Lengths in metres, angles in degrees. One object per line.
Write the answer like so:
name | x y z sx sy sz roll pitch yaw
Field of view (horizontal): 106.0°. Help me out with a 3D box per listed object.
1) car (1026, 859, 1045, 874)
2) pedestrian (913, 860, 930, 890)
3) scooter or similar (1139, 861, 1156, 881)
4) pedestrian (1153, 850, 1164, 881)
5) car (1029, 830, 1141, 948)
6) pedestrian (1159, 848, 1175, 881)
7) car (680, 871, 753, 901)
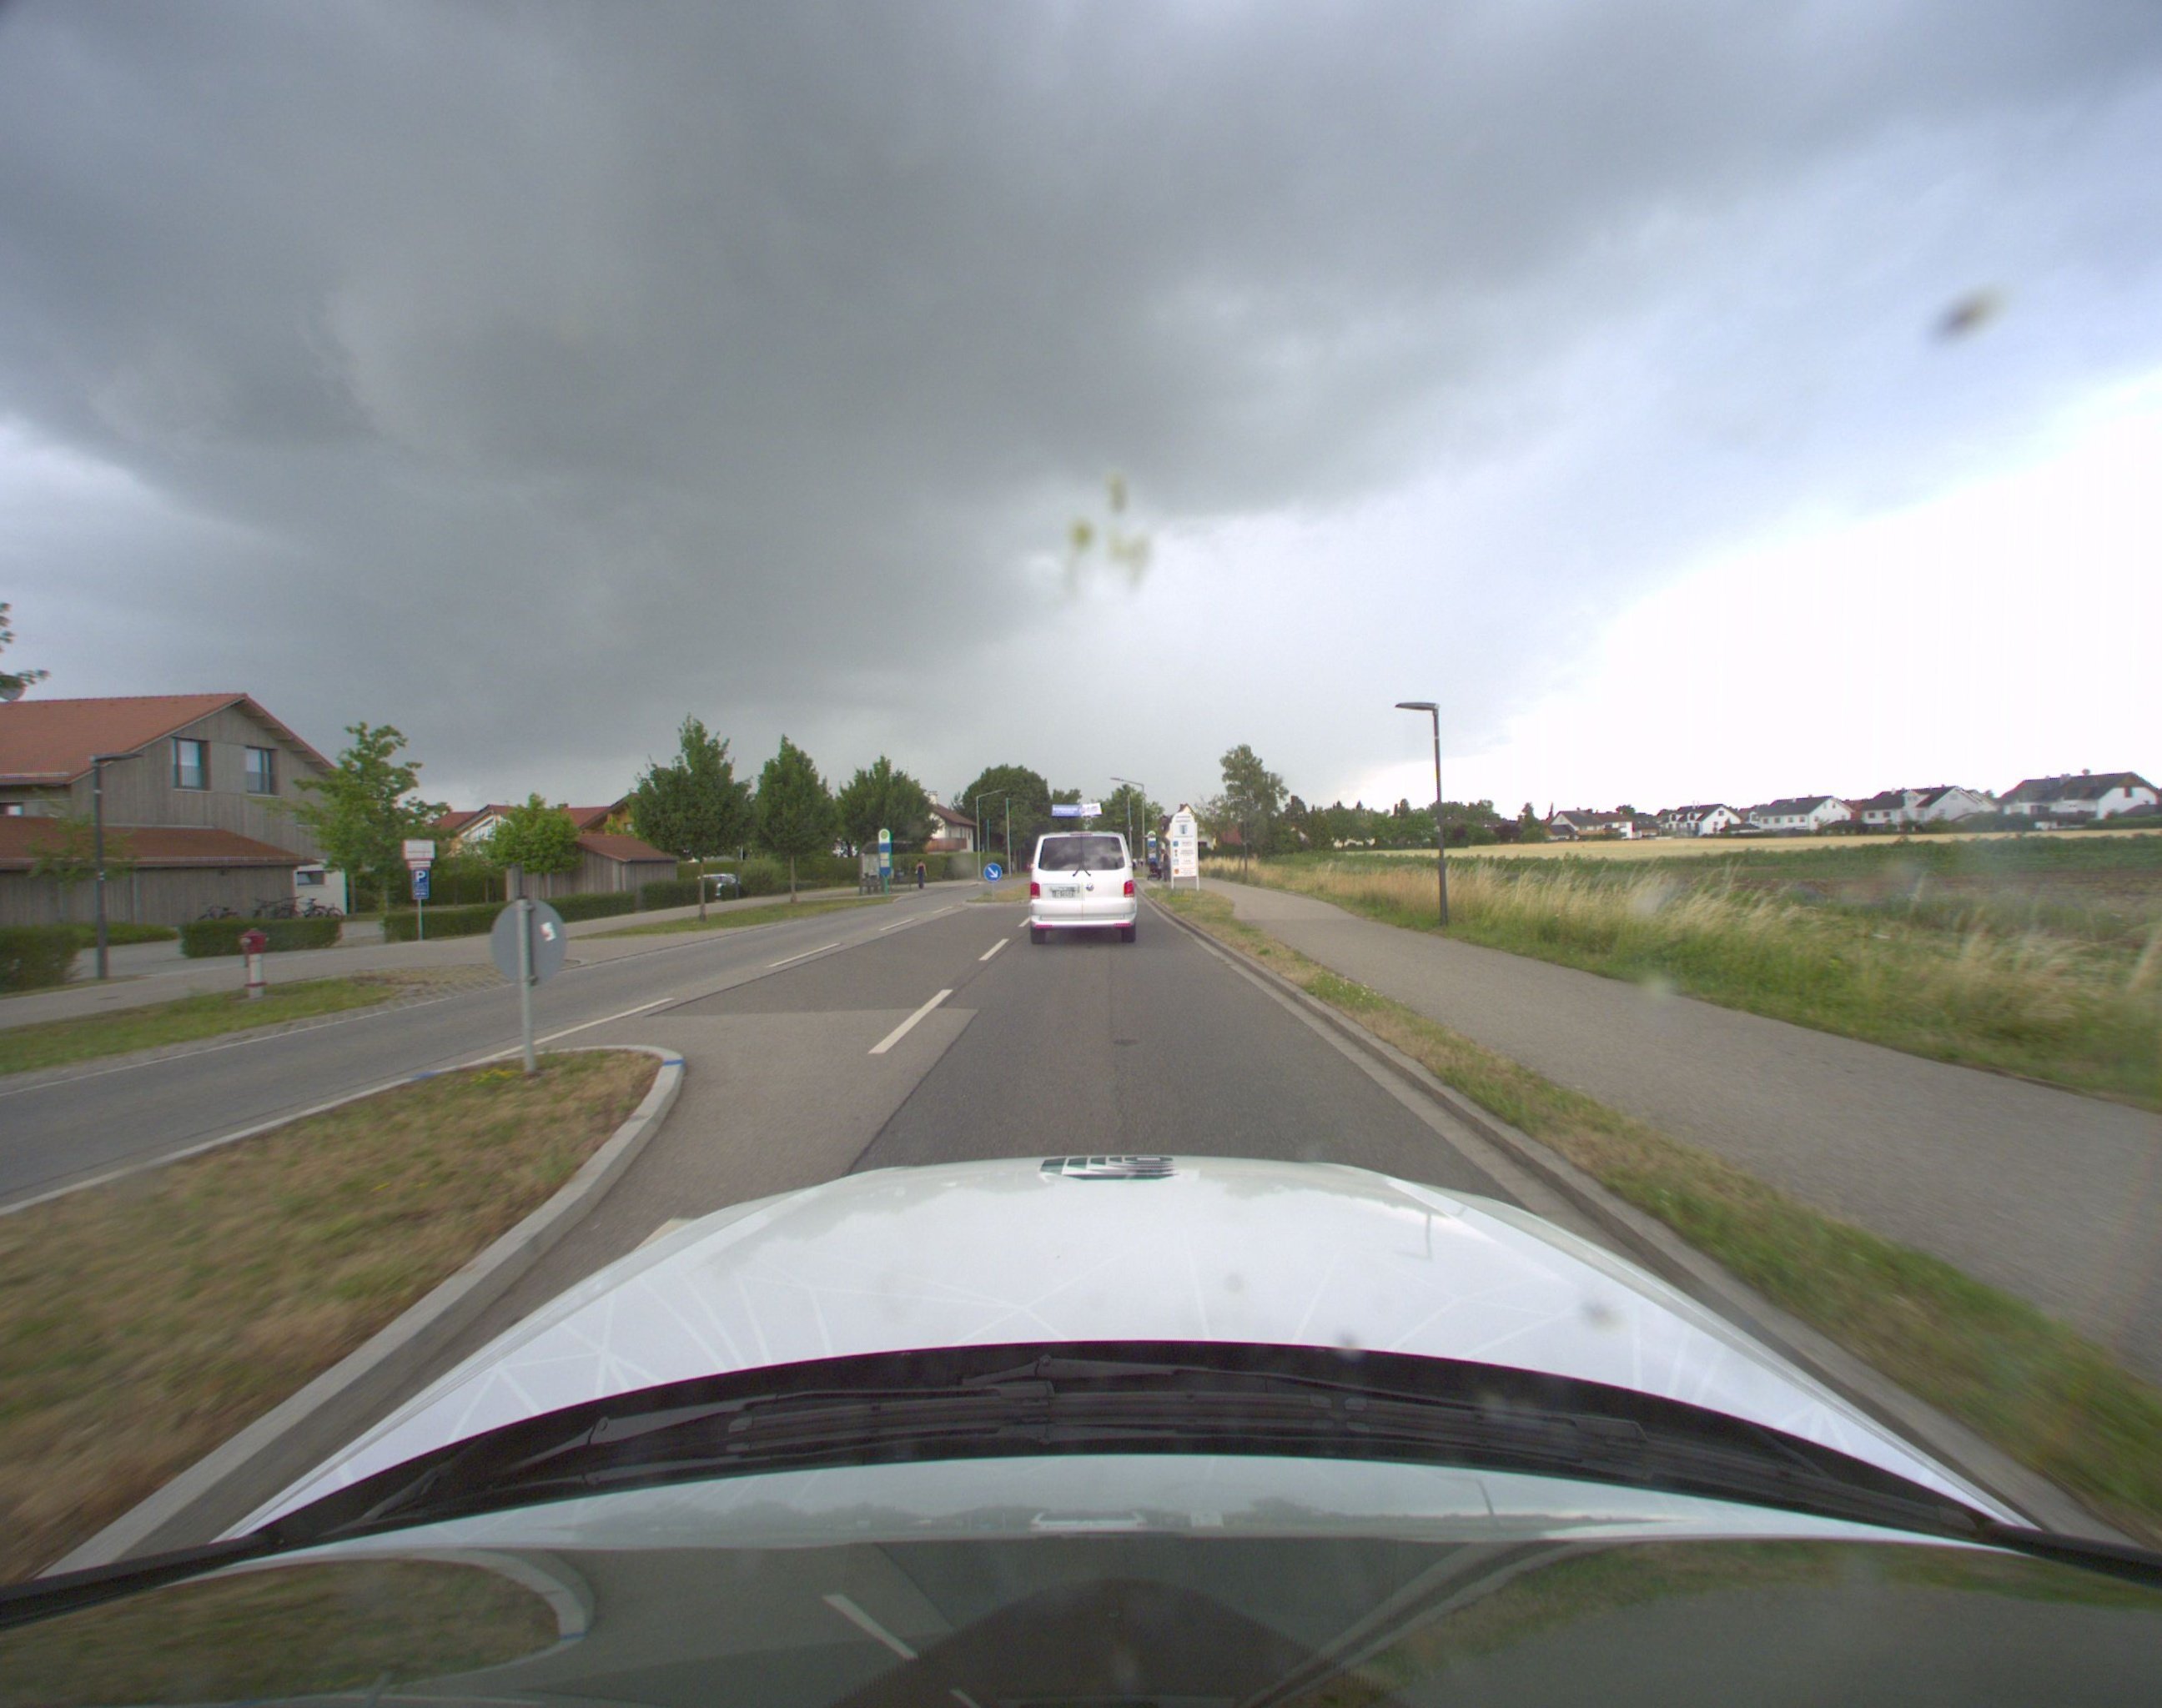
car | -4.879 1.356 87.658 1.648 1.429 3.603 -4 0 1
pedestrian | -8.406 1.103 42.925 0.621 1.525 0.680 -4 0 1
scooter or similar | 3.774 0.959 46.408 0.845 1.103 1.094 -4 0 2
pedestrian | 4.409 0.650 46.340 0.483 1.732 0.642 -4 0 1
car | 0.065 0.567 15.467 1.820 1.913 3.999 -1 0 0
pedestrian | 4.494 0.552 42.670 0.486 1.732 0.638 -4 0 -18
car | -22.012 1.899 49.237 3.581 1.529 1.658 -4 0 -2
